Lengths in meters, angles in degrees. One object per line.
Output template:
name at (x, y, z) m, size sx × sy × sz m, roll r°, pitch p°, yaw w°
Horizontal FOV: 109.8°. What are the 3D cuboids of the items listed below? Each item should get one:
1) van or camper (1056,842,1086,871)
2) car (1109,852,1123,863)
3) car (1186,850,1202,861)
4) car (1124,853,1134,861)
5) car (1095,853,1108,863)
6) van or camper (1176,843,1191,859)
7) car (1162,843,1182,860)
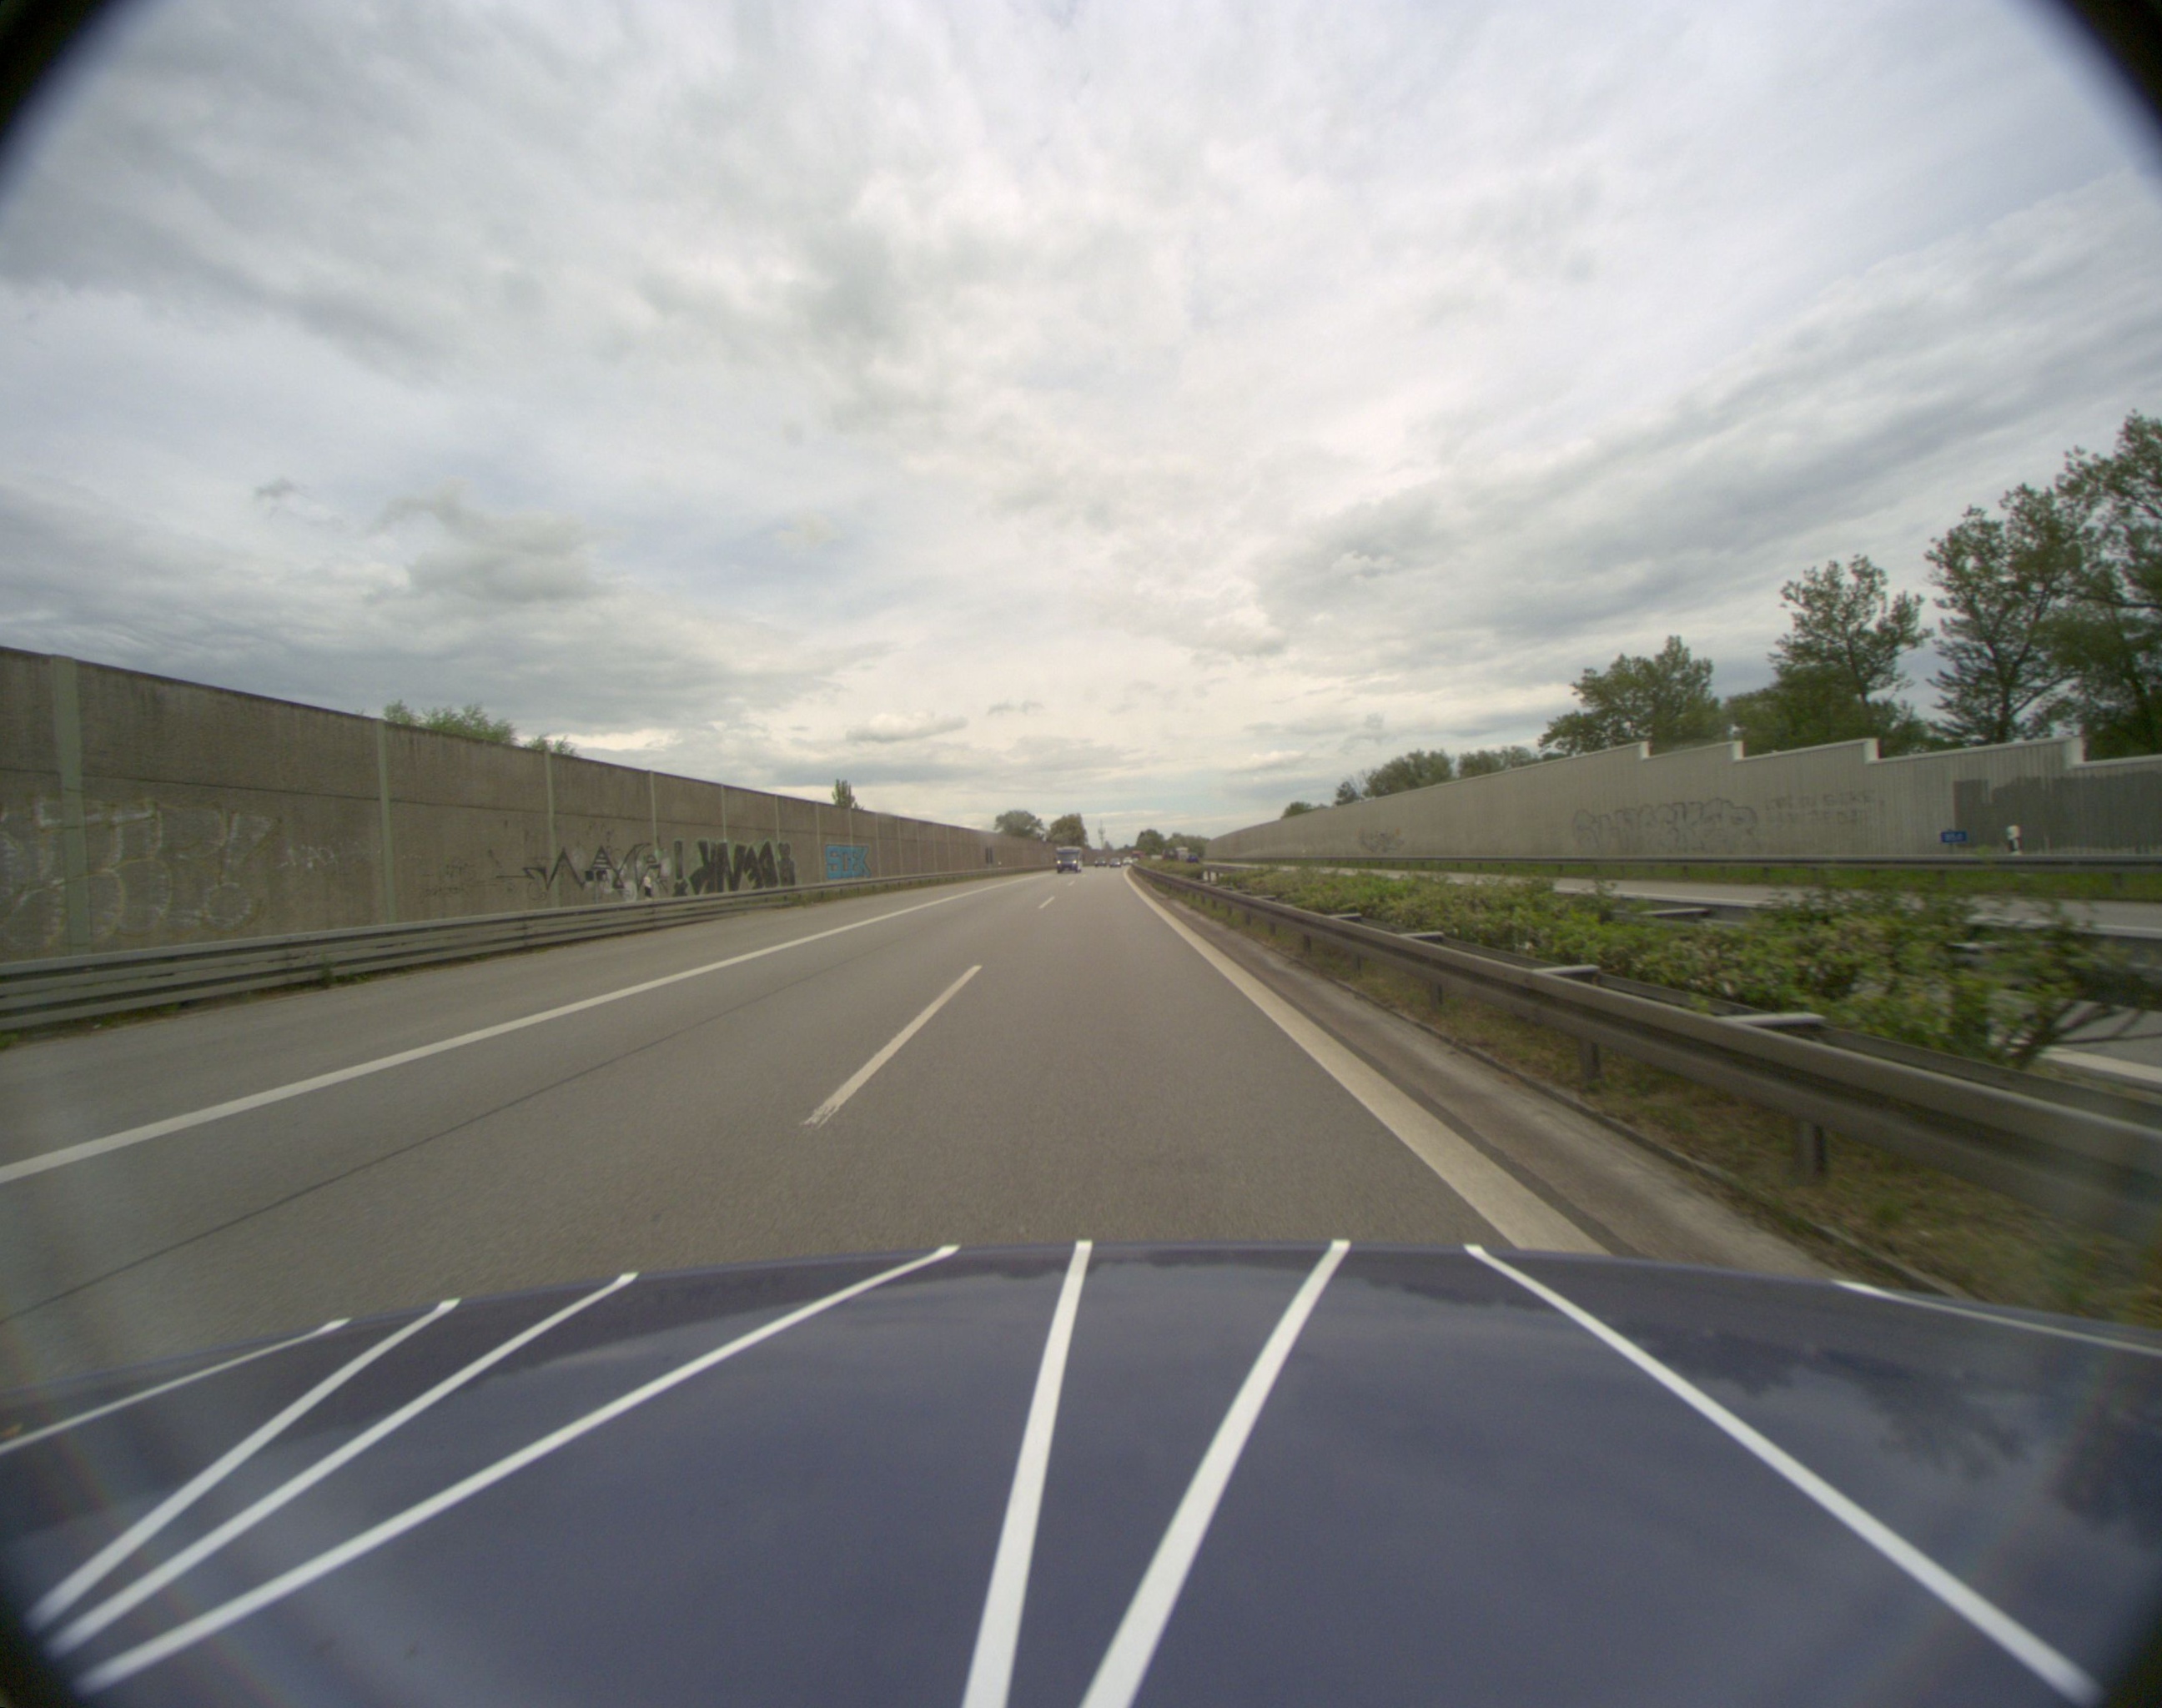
van or camper at (-0.960, 0.299, 77.597) m, size 2.434 × 2.680 × 7.228 m, roll -2°, pitch -1°, yaw 4°
car at (5.368, 0.498, 117.251) m, size 1.888 × 1.608 × 4.002 m, roll -1°, pitch 0°, yaw 7°
car at (15.831, 0.191, 106.498) m, size 1.816 × 1.538 × 4.517 m, roll -2°, pitch 0°, yaw 4°
car at (9.884, 0.621, 156.107) m, size 1.889 × 1.608 × 4.001 m, roll -1°, pitch 0°, yaw 4°
car at (3.586, 0.653, 131.824) m, size 1.889 × 1.608 × 4.002 m, roll -1°, pitch 0°, yaw 5°
van or camper at (18.695, -0.565, 138.873) m, size 2.259 × 2.763 × 5.756 m, roll -2°, pitch 0°, yaw 3°
car at (10.794, -0.294, 90.433) m, size 1.998 × 1.875 × 4.556 m, roll -2°, pitch 0°, yaw 2°
